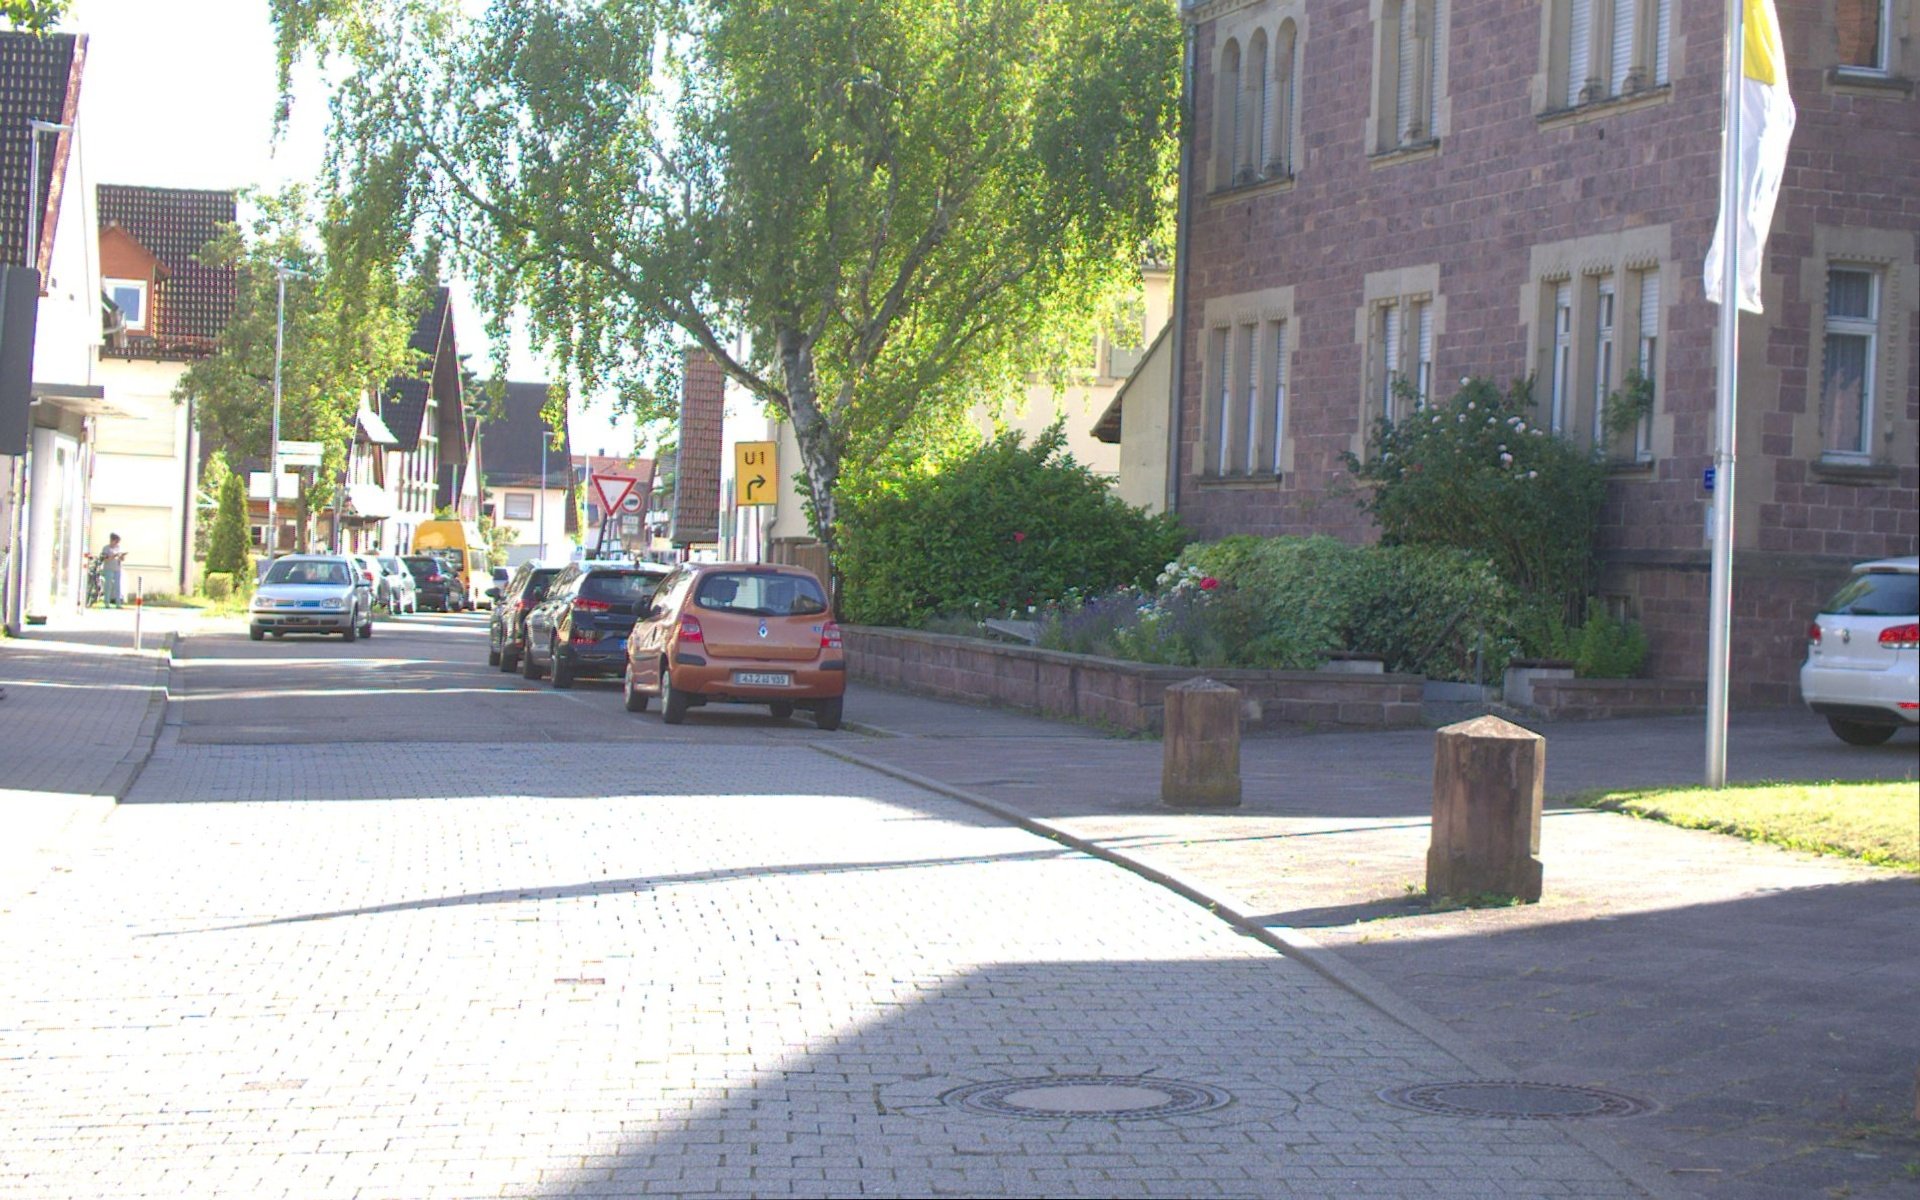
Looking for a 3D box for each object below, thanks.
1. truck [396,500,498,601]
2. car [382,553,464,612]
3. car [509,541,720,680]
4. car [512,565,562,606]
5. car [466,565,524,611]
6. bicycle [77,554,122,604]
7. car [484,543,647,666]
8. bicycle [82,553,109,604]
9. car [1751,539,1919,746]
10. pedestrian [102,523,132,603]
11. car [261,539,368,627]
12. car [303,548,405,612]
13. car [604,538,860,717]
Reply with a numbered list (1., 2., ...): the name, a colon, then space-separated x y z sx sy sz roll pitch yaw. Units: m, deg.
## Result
1. truck: -15.736 -1.477 105.808 2.268 2.859 5.782 3 -1 -1
2. car: -15.635 -0.493 100.216 1.806 1.616 3.881 3 -1 -1
3. car: -4.098 0.088 40.248 1.807 1.431 4.287 3 1 -14
4. car: -15.753 -0.535 128.109 1.588 1.438 3.615 3 0 -4
5. car: -15.507 -0.398 114.833 1.645 1.428 3.615 3 0 -4
6. bicycle: -19.392 -0.466 77.513 0.578 1.049 2.036 2 -1 -3
7. car: -5.195 0.028 44.853 1.807 1.431 4.287 3 1 -10
8. bicycle: -18.642 -0.463 74.175 0.423 1.049 1.381 2 -1 -10
9. car: 8.273 0.275 26.281 3.897 1.491 1.905 -1 0 -19
10. pedestrian: -18.242 -0.792 74.407 0.483 1.687 0.557 3 -2 -6
11. car: -10.906 -0.309 57.948 1.670 1.398 3.893 1 1 -12
12. car: -15.286 -0.484 86.892 1.867 1.500 4.107 3 -1 -1
13. car: -2.189 0.211 32.005 1.647 1.474 3.935 3 1 -14
